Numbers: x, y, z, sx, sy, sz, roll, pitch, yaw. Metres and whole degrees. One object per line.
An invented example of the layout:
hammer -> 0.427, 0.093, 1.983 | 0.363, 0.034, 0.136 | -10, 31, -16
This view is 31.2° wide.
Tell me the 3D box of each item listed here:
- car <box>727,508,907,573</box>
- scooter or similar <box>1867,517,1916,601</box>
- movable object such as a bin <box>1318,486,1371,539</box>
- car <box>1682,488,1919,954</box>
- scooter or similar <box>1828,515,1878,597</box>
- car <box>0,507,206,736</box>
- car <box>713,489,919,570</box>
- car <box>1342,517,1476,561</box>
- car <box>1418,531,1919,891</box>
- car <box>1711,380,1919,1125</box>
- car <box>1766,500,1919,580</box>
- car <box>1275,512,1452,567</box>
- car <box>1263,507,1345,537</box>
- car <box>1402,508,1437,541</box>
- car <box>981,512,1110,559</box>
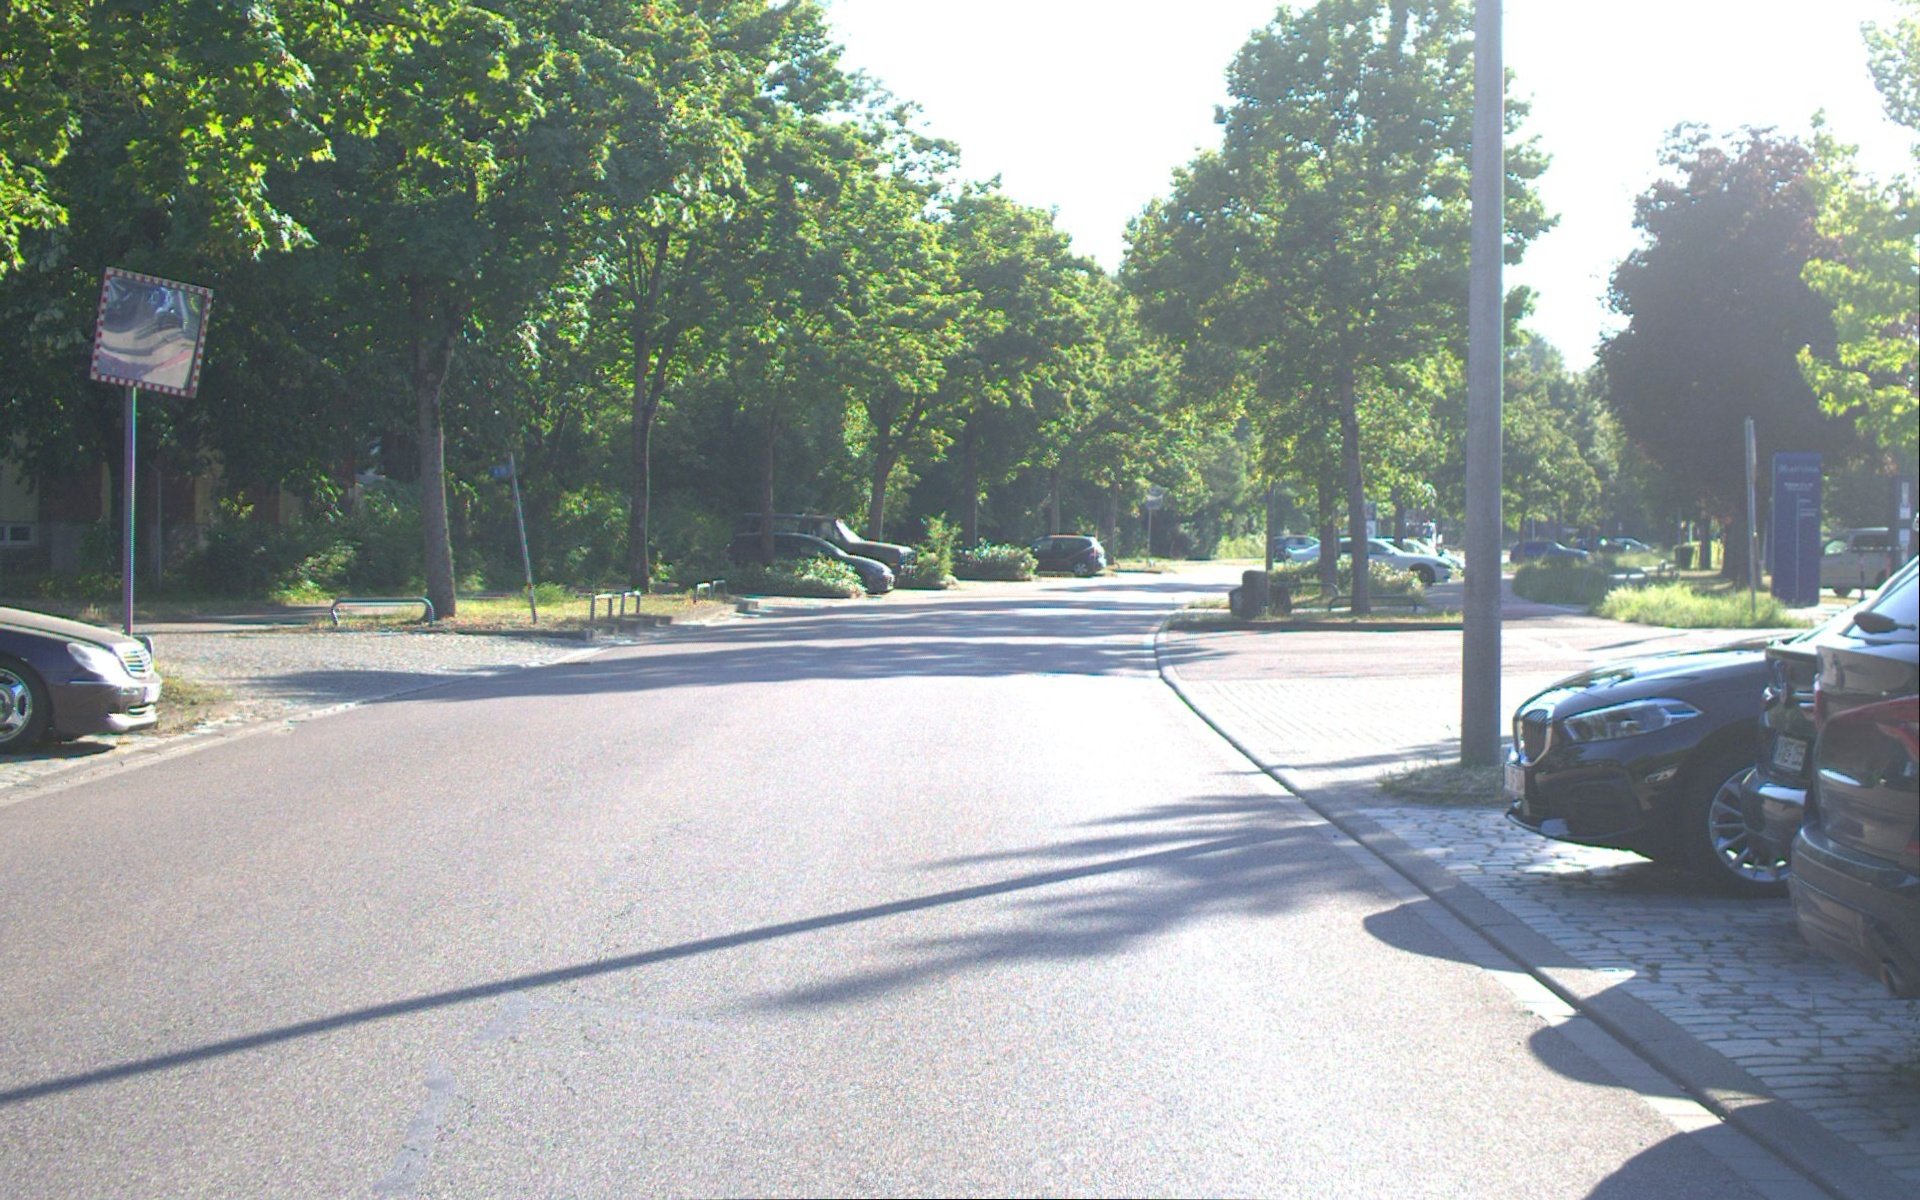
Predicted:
car -> -3.505, -1.474, 84.630 | 4.213, 1.525, 1.705 | 1, 1, 7
scooter or similar -> 14.248, -0.632, 52.604 | 0.520, 1.267, 1.200 | 0, 2, 5
movable object such as a bin -> 23.371, -5.320, 208.890 | 2.839, 3.058, 4.925 | 3, 2, 9
car -> 5.061, 0.396, 12.396 | 4.481, 1.545, 2.034 | 1, 2, 1
scooter or similar -> 14.136, -0.709, 54.447 | 0.520, 1.267, 1.387 | 1, 1, 5
car -> -7.964, 0.039, 23.729 | 5.034, 1.457, 2.000 | 2, 1, -1
car -> -3.686, -1.817, 88.408 | 5.006, 2.013, 2.174 | 1, 1, 7
car -> 16.023, -2.179, 122.650 | 4.363, 1.474, 1.998 | -1, 0, 20
car -> 4.353, 0.436, 14.679 | 4.481, 1.399, 2.034 | 1, 2, -1
car -> 4.520, 0.357, 8.987 | 4.695, 1.745, 2.191 | 1, 2, 4
car -> 23.873, -1.609, 90.844 | 1.993, 1.927, 4.954 | 0, 3, -33
car -> 12.040, -1.825, 102.451 | 5.177, 1.568, 2.157 | 1, 1, 8
car -> 19.706, -4.465, 196.739 | 4.361, 1.541, 1.999 | 3, 2, 14
car -> 34.385, -5.638, 257.199 | 2.517, 2.378, 4.372 | 1, 1, 7
car -> 3.120, -2.342, 125.141 | 4.360, 1.474, 1.999 | 3, 2, 11
